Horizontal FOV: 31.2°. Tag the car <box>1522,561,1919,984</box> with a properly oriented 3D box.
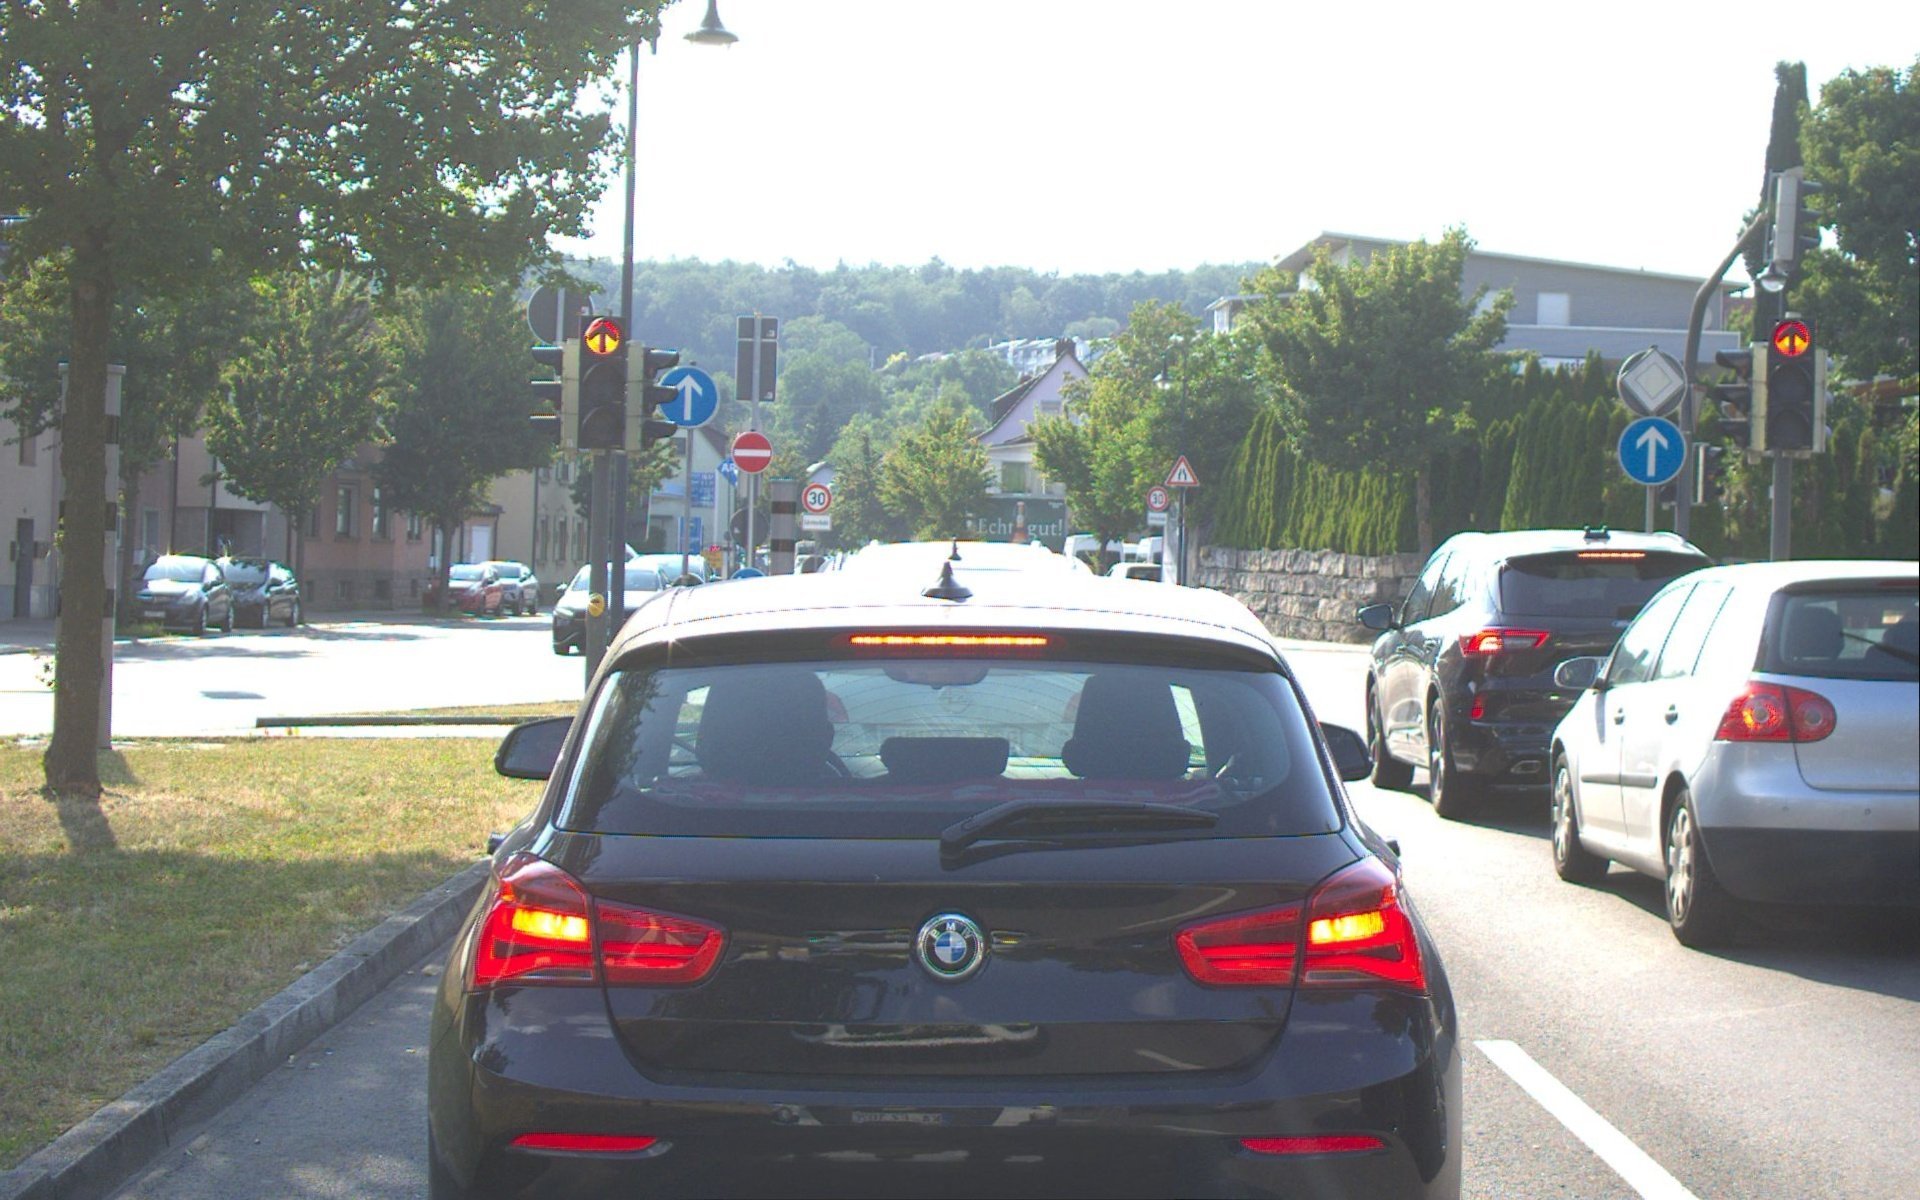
[{"bbox_3d":[3.554,0.583,14.163,1.816,1.441,4.347,1,1,1],"label":"car"}]

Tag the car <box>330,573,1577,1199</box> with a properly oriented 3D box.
[{"bbox_3d":[0.019,0.678,7.139,1.791,1.410,4.347,1,1,1],"label":"car"}]

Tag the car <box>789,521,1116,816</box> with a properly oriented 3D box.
[{"bbox_3d":[-0.009,0.348,21.425,1.816,1.635,4.242,1,1,1],"label":"car"}]

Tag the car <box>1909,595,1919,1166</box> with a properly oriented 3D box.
[{"bbox_3d":[3.213,0.728,6.252,1.816,1.384,4.347,1,1,1],"label":"car"}]

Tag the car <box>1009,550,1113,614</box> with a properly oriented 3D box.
[{"bbox_3d":[2.425,-0.454,83.478,1.861,1.480,4.660,1,1,-6],"label":"car"}]

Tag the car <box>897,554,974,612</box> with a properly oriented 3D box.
[{"bbox_3d":[-0.763,-0.526,104.074,1.890,1.696,4.525,-1,1,-6],"label":"car"}]

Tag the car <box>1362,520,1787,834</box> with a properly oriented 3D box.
[{"bbox_3d":[3.545,0.374,20.596,1.816,1.660,4.347,1,1,1],"label":"car"}]

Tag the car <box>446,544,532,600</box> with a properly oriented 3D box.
[{"bbox_3d":[-14.117,-0.857,103.199,1.924,1.590,4.000,1,1,1],"label":"car"}]

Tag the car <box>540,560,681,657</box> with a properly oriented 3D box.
[{"bbox_3d":[-5.585,0.112,55.328,1.766,1.453,4.000,1,1,1],"label":"car"}]

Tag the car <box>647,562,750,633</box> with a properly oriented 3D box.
[{"bbox_3d":[-5.263,-0.079,69.624,1.693,1.348,4.000,1,1,1],"label":"car"}]

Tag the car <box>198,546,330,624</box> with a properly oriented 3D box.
[{"bbox_3d":[-14.846,-0.337,73.488,1.924,1.590,4.000,1,1,1],"label":"car"}]

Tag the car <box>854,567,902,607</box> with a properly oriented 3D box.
[{"bbox_3d":[-3.404,-0.542,143.134,1.924,1.590,4.000,1,1,-1],"label":"car"}]

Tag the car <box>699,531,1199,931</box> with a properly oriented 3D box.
[{"bbox_3d":[-0.008,0.442,14.703,1.816,1.446,4.242,1,1,1],"label":"car"}]

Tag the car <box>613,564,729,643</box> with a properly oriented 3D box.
[{"bbox_3d":[-5.240,0.042,62.724,1.693,1.348,4.000,1,1,1],"label":"car"}]

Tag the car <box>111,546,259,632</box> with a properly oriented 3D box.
[{"bbox_3d":[-15.164,-0.241,67.456,1.924,1.590,4.000,1,1,1],"label":"car"}]

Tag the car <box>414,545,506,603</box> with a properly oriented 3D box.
[{"bbox_3d":[-14.180,-0.761,97.694,1.924,1.590,4.000,1,1,1],"label":"car"}]
